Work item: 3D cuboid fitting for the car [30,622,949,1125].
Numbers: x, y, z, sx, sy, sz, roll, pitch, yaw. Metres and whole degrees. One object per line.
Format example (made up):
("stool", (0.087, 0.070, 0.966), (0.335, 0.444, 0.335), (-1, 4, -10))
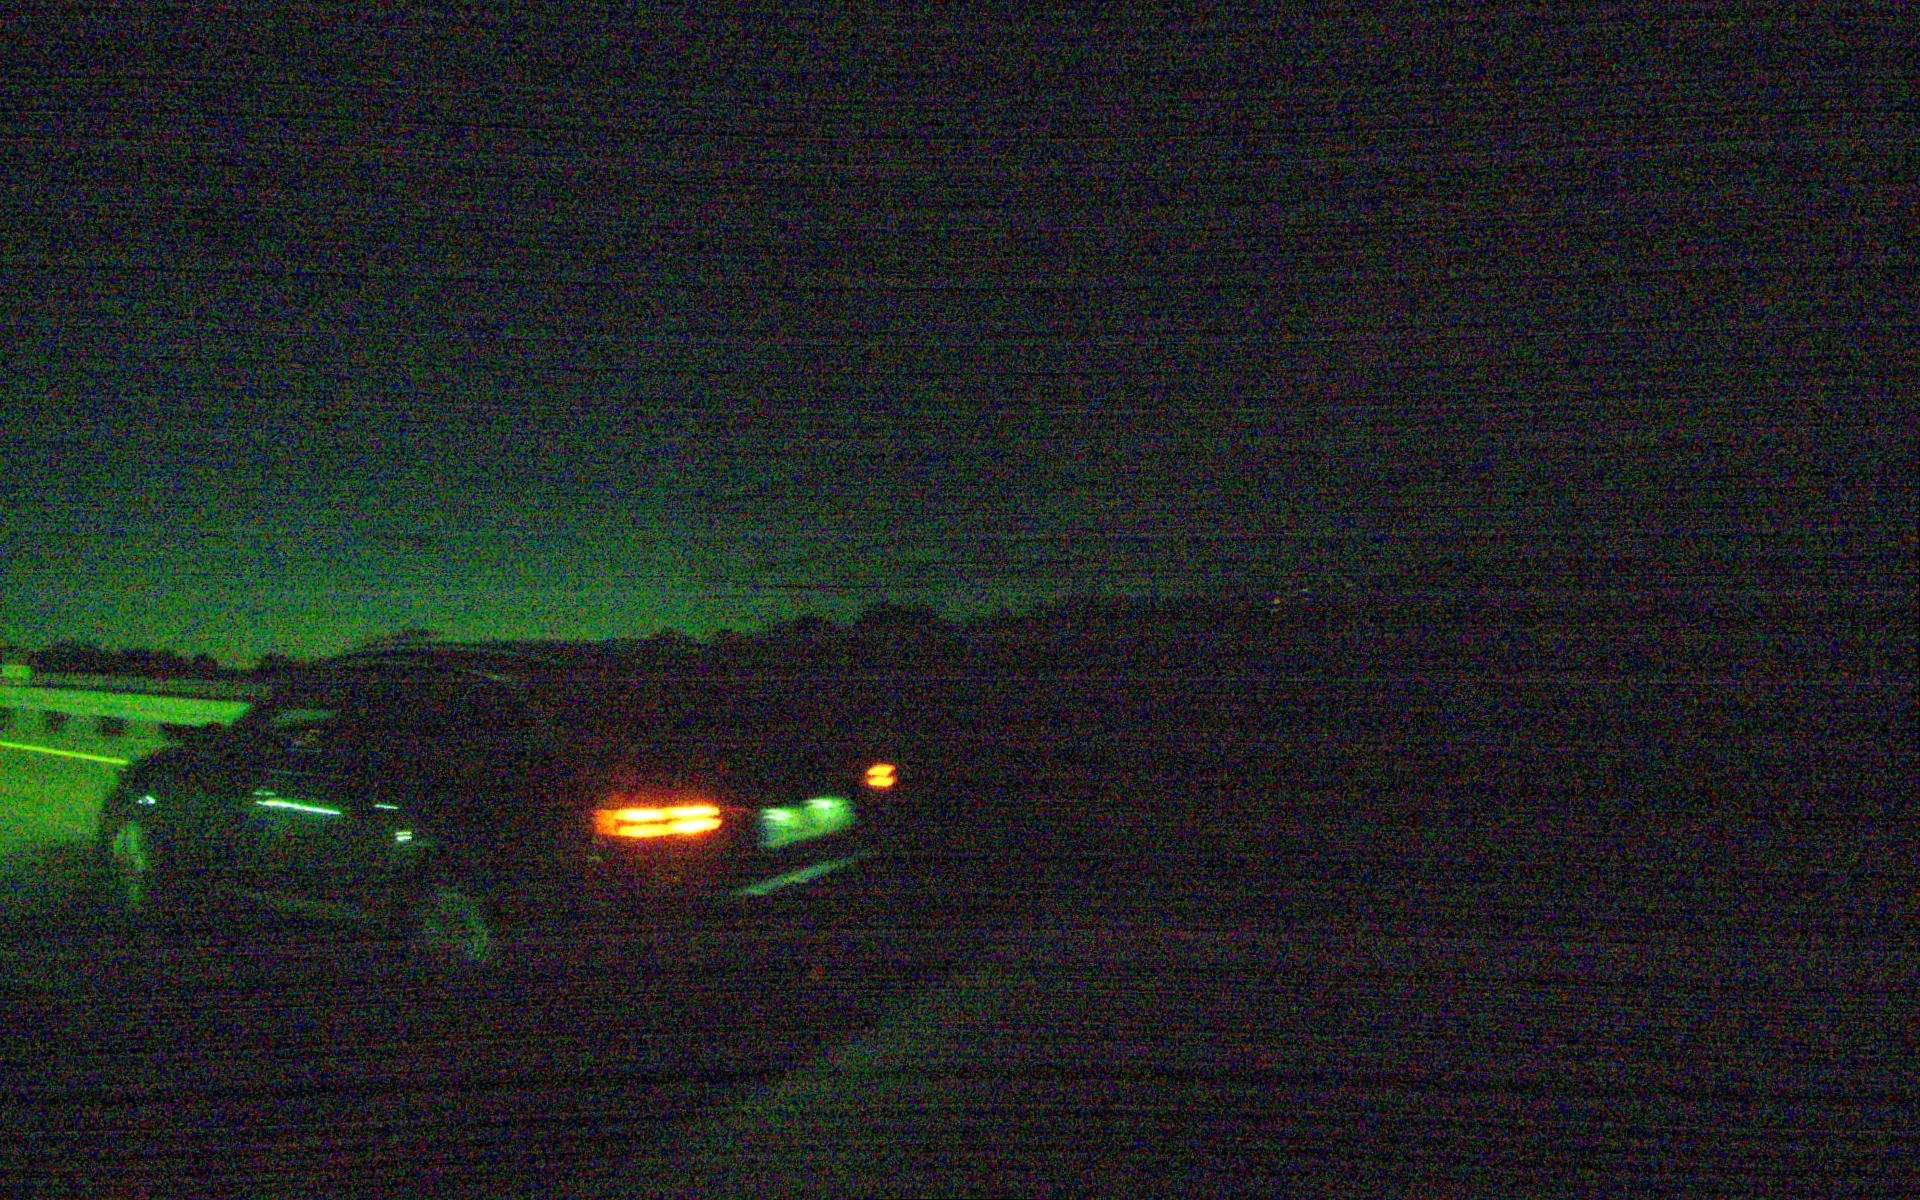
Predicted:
("car", (-2.559, 0.855, 4.990), (4.803, 1.445, 1.805), (0, 0, 31))
